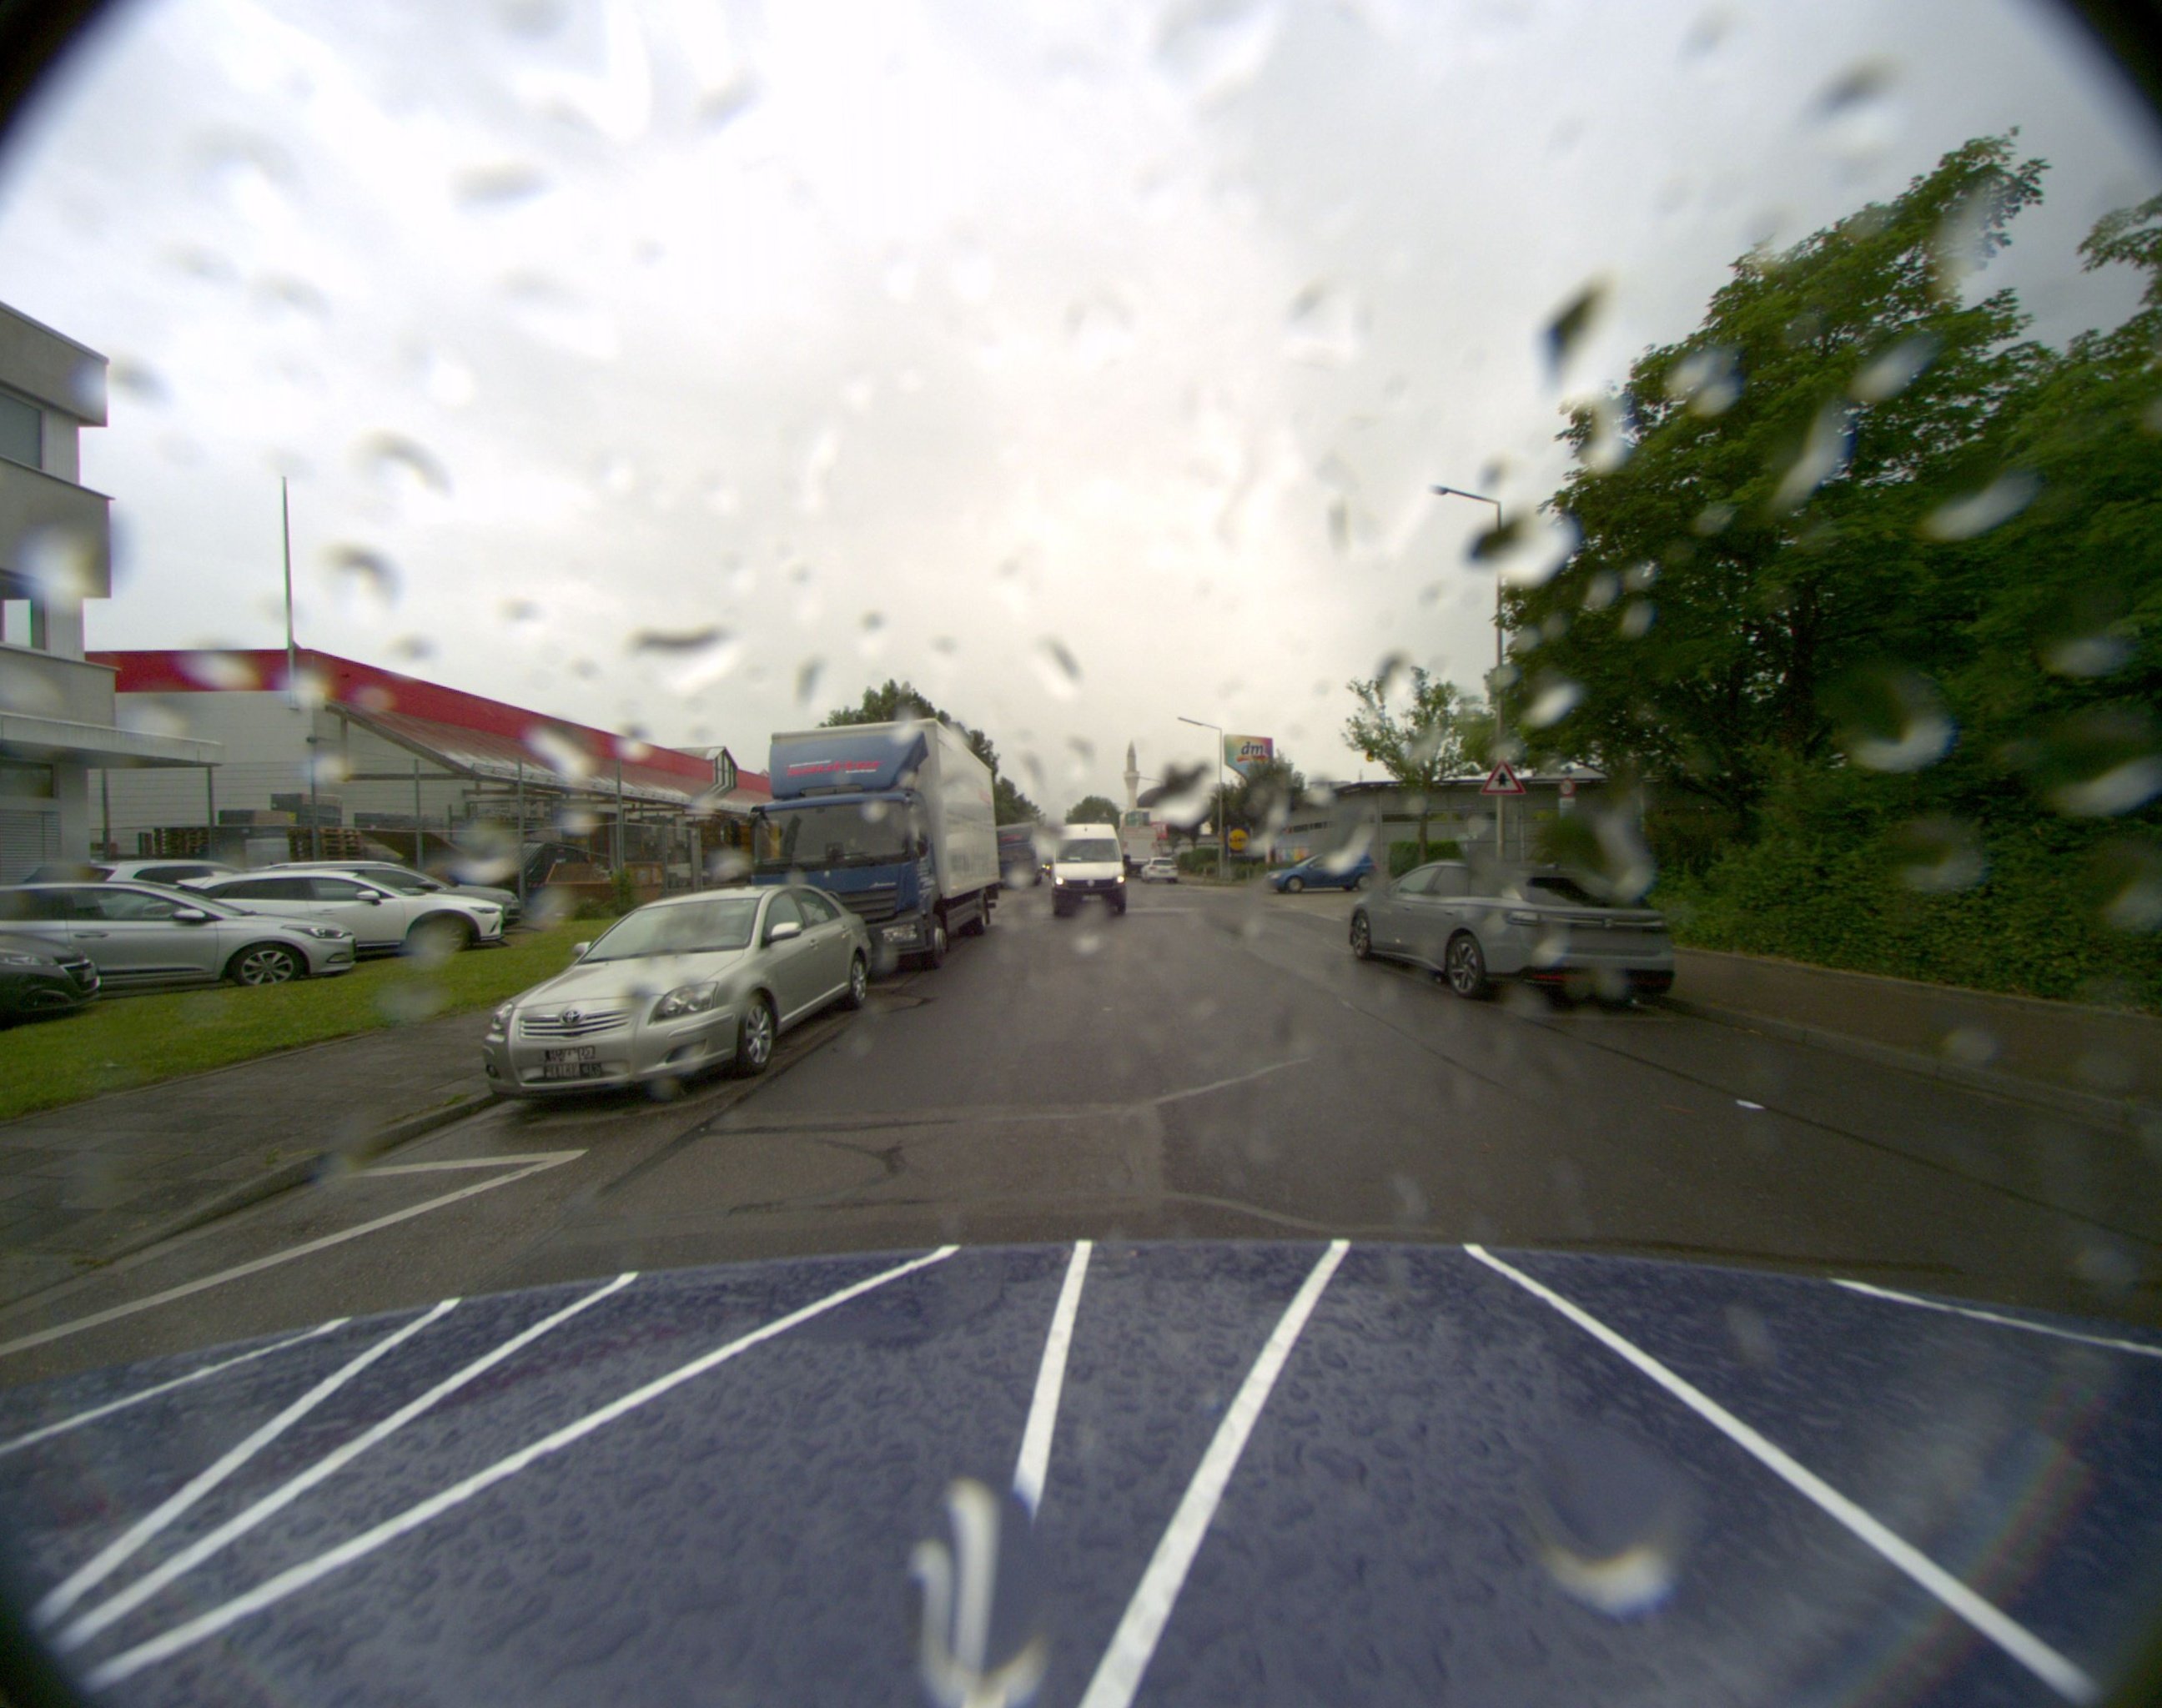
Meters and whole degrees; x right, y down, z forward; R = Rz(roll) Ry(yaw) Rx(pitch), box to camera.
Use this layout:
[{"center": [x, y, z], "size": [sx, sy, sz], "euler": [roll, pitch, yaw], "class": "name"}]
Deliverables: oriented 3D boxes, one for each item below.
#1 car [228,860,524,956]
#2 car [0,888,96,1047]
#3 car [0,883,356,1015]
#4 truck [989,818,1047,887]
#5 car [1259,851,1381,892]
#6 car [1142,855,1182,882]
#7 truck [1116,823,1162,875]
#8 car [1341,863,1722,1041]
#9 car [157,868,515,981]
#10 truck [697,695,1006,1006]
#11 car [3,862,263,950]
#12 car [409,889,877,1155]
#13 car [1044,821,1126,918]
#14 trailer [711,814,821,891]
[{"center": [-13.542, 0.935, 14.831], "size": [1.868, 1.518, 4.008], "euler": [-1, 0, 45], "class": "car"}, {"center": [-11.519, 1.083, 6.345], "size": [3.775, 1.385, 1.702], "euler": [-1, 0, -43], "class": "car"}, {"center": [-11.705, 1.090, 9.308], "size": [1.702, 1.279, 4.008], "euler": [-1, 0, 45], "class": "car"}, {"center": [-3.659, -0.080, 46.193], "size": [2.678, 3.670, 8.008], "euler": [-4, 0, -1], "class": "truck"}, {"center": [8.869, 0.638, 28.356], "size": [3.997, 1.432, 1.736], "euler": [0, 0, -1], "class": "car"}, {"center": [4.652, 0.805, 44.338], "size": [1.840, 1.426, 4.491], "euler": [0, 0, 0], "class": "car"}, {"center": [4.394, -0.393, 58.751], "size": [2.889, 3.724, 7.867], "euler": [-1, 0, 0], "class": "truck"}, {"center": [5.049, 0.949, 9.513], "size": [1.814, 1.519, 4.747], "euler": [2, 0, -1], "class": "car"}, {"center": [-12.061, 1.023, 12.636], "size": [1.770, 1.461, 4.008], "euler": [-1, 0, 45], "class": "car"}, {"center": [-3.361, -0.056, 14.284], "size": [2.748, 3.767, 9.298], "euler": [-4, 0, 0], "class": "truck"}, {"center": [-17.555, 0.899, 14.257], "size": [1.402, 1.417, 2.746], "euler": [-1, 0, -1], "class": "car"}, {"center": [-3.343, 1.158, 6.975], "size": [1.802, 1.433, 4.344], "euler": [-1, 0, -1], "class": "car"}, {"center": [0.235, 0.401, 22.504], "size": [2.084, 2.466, 5.347], "euler": [-1, 0, 3], "class": "car"}, {"center": [-19.164, -0.120, 47.067], "size": [2.974, 4.218, 9.469], "euler": [-1, 0, -1], "class": "trailer"}]
